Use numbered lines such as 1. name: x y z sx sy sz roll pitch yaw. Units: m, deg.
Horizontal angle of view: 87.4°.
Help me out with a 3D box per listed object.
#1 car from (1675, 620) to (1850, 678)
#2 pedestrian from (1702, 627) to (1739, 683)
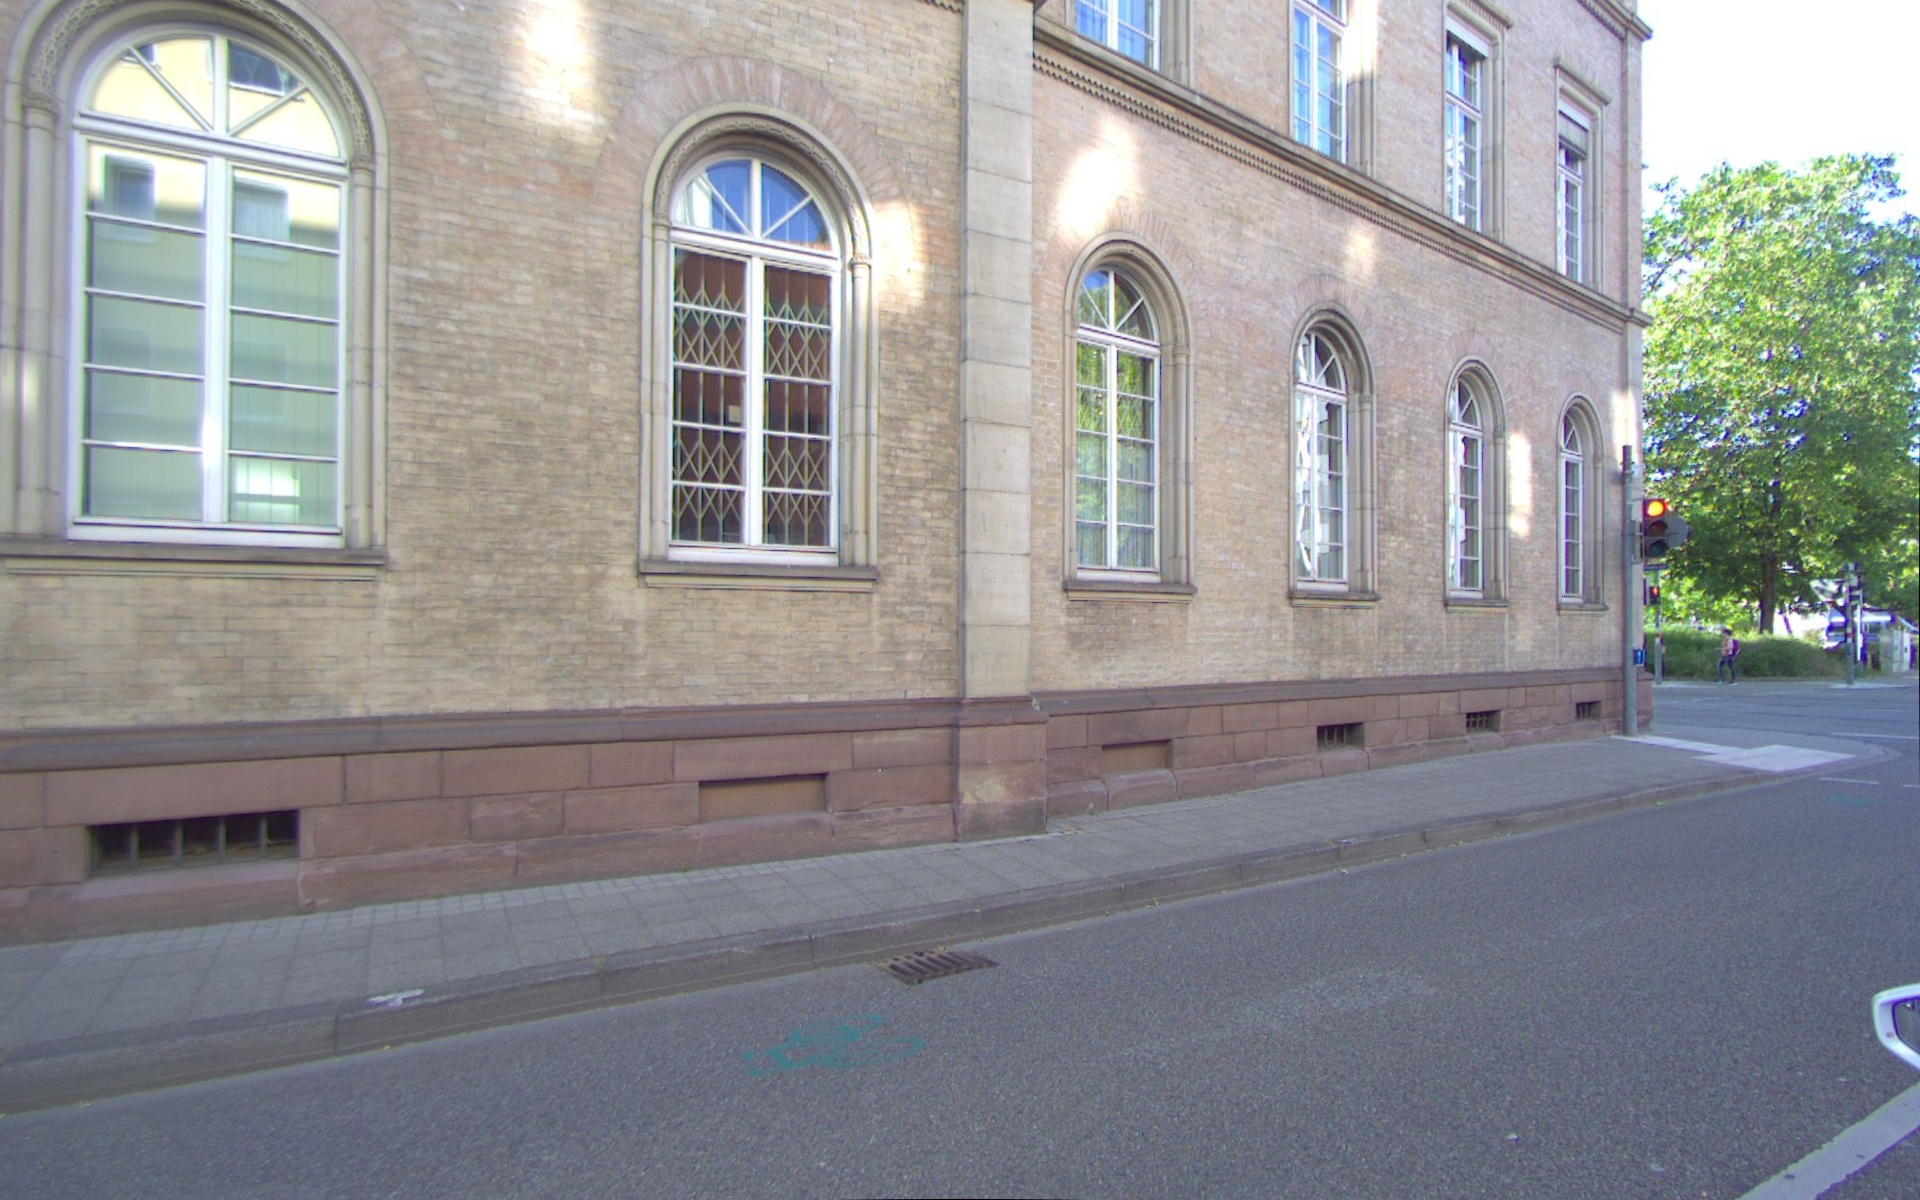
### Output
1. car: 26.339 1.563 33.098 1.888 1.801 4.193 1 -2 -37
2. pedestrian: 22.570 1.618 29.833 0.700 1.620 0.617 0 -1 20
